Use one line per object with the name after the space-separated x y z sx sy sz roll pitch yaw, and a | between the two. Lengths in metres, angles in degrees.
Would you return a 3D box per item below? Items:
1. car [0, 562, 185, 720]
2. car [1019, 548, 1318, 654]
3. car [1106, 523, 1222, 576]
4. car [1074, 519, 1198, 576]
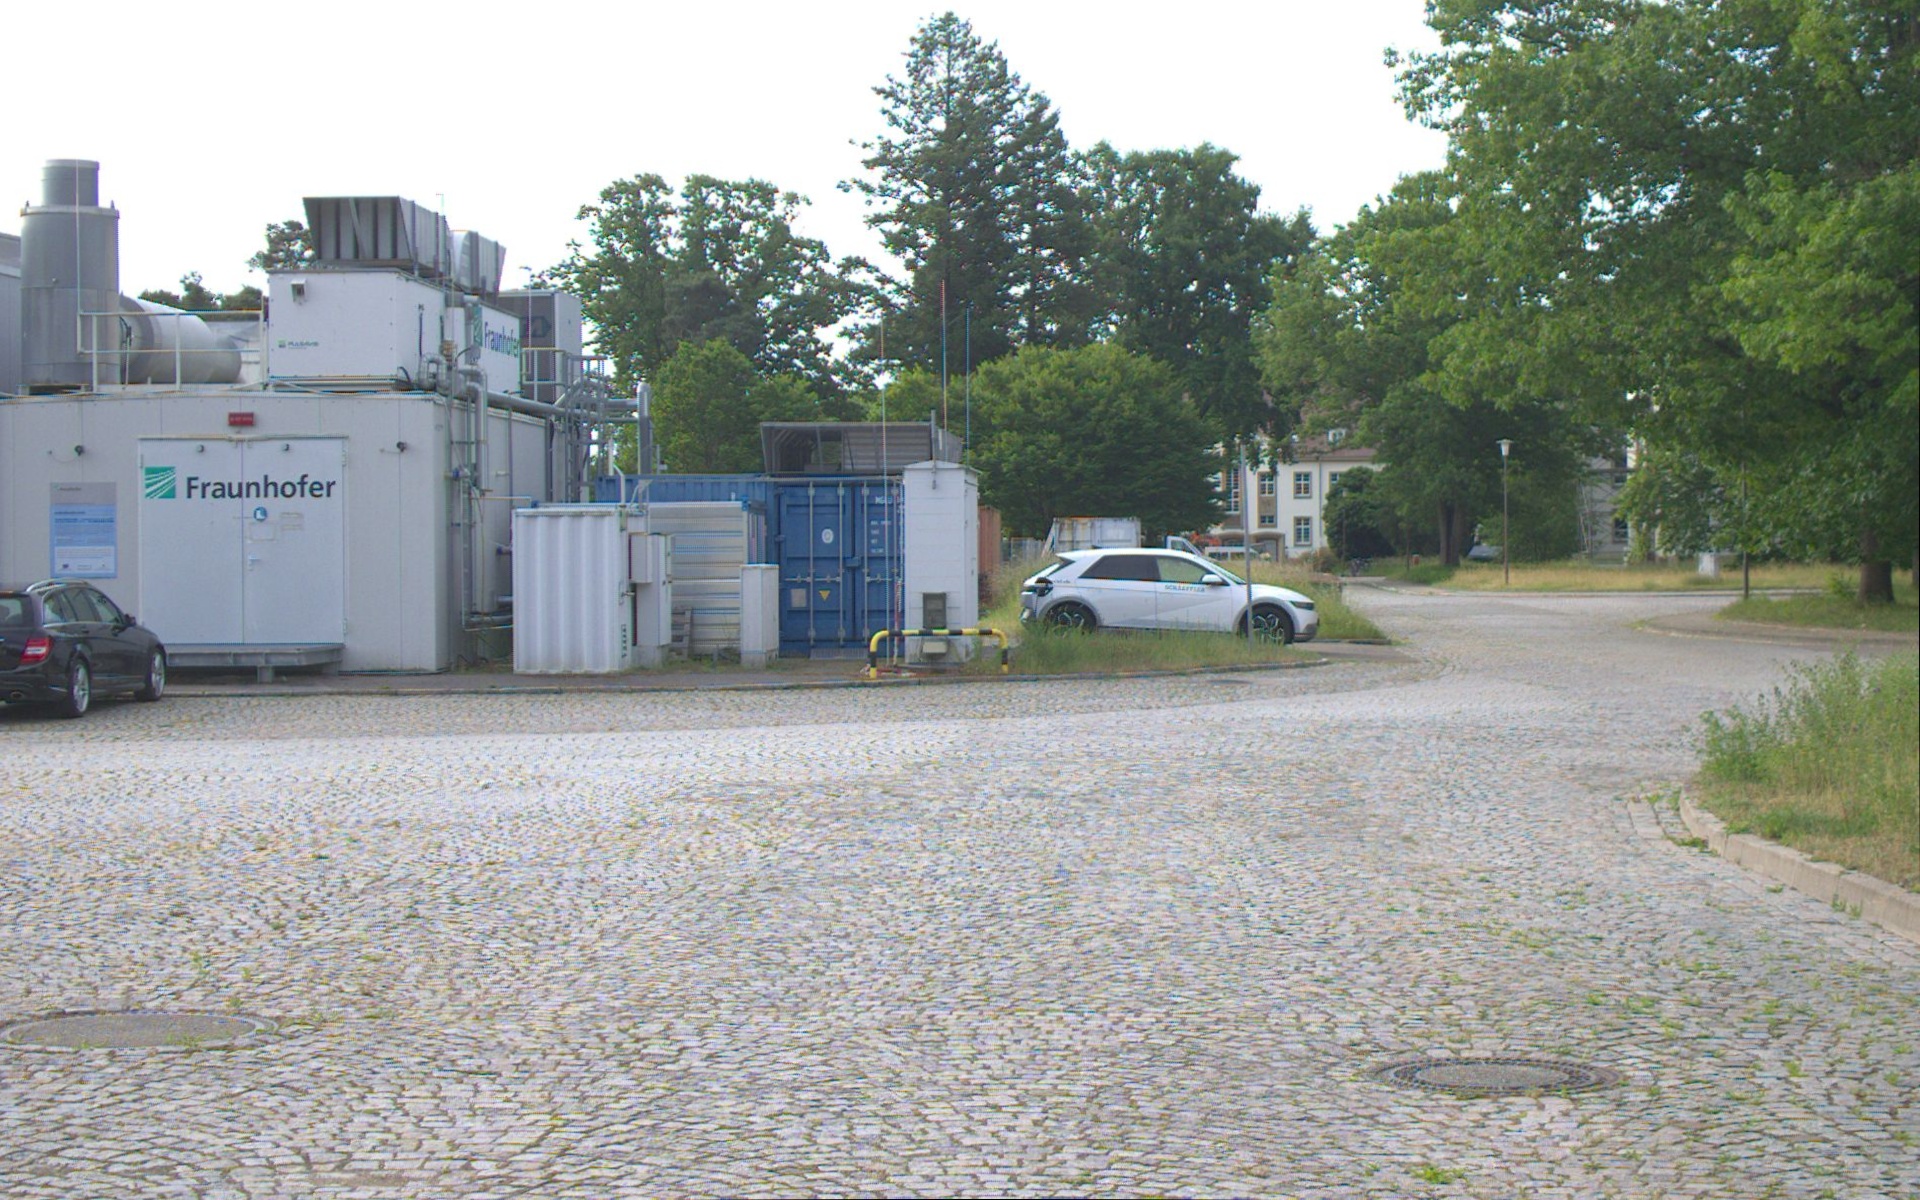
-10.006 0.397 37.036 2.036 1.448 4.530 0 2 3 | car
3.272 0.006 53.383 4.535 1.594 2.000 0 1 6 | car
9.164 -2.278 154.776 5.171 2.329 2.000 0 1 3 | car
7.438 -2.214 145.308 5.171 2.329 2.000 0 1 3 | car
